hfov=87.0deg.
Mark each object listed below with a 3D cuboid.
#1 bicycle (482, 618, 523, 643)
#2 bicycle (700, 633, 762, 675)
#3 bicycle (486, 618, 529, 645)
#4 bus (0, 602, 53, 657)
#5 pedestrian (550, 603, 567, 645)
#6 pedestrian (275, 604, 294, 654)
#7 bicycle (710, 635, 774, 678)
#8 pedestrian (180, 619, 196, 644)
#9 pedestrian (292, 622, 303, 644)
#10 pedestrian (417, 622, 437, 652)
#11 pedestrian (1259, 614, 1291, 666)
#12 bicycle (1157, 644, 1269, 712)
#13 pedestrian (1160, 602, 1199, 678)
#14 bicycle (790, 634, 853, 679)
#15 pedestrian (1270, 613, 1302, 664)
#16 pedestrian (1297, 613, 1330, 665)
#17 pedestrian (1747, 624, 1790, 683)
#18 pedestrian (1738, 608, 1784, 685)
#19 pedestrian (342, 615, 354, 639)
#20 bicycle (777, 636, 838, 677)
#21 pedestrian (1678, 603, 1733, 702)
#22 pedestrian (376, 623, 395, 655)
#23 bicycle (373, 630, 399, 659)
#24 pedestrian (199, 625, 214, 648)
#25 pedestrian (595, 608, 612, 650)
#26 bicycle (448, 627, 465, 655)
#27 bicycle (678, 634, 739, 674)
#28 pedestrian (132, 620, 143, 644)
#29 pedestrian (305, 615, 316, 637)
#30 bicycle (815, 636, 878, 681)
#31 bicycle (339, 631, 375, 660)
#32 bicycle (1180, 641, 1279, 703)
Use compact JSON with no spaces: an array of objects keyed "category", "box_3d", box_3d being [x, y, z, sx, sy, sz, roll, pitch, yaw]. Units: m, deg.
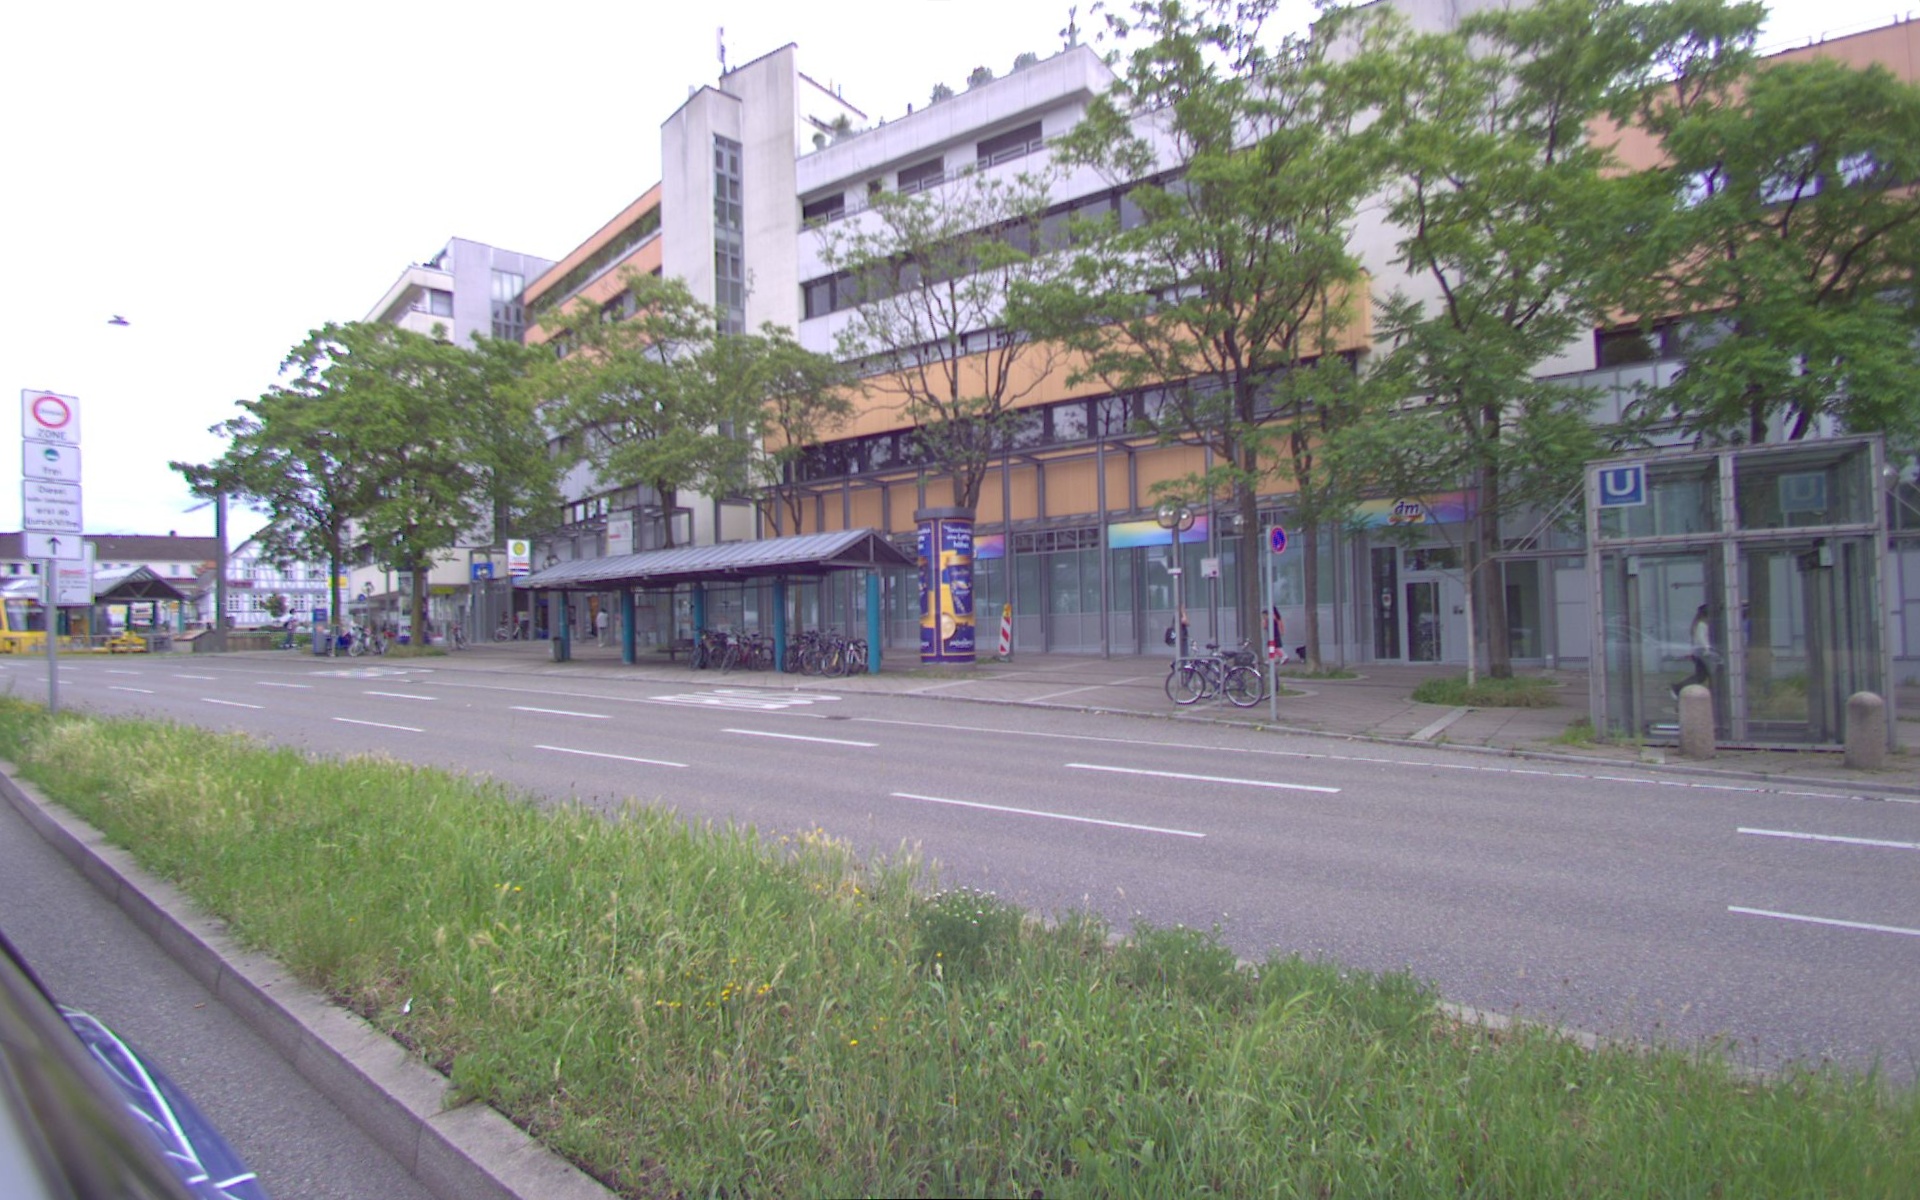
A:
[{"category":"bicycle","box_3d":[-26.096,1.746,57.768,2.106,1.377,0.621,-1,0,-24]},{"category":"bicycle","box_3d":[-6.454,1.519,28.586,0.549,1.048,1.714,-2,1,38]},{"category":"bicycle","box_3d":[-24.947,1.735,55.790,2.107,1.385,0.621,-1,0,-31]},{"category":"bus","box_3d":[-55.981,1.698,58.617,8.470,3.006,2.530,-1,-2,29]},{"category":"pedestrian","box_3d":[-19.486,1.160,49.125,0.558,2.029,0.611,1,-2,-44]},{"category":"pedestrian","box_3d":[-31.814,1.380,47.658,0.608,2.325,0.583,-1,-2,39]},{"category":"bicycle","box_3d":[-5.960,1.536,27.724,0.549,1.048,1.714,-2,1,38]},{"category":"pedestrian","box_3d":[-62.502,2.523,81.950,0.867,2.029,1.010,1,-2,-44]},{"category":"pedestrian","box_3d":[-44.592,2.229,68.157,0.548,1.506,0.454,1,-2,-41]},{"category":"pedestrian","box_3d":[-30.423,2.109,57.793,0.752,1.695,0.755,-1,-2,41]},{"category":"pedestrian","box_3d":[8.538,1.072,27.424,0.694,1.385,0.578,-1,-2,34]},{"category":"bicycle","box_3d":[4.368,1.329,17.600,0.802,1.068,1.739,0,-1,-40]},{"category":"pedestrian","box_3d":[5.295,0.950,24.398,0.769,1.800,0.525,-1,-2,33]},{"category":"bicycle","box_3d":[-3.613,1.464,26.595,0.549,1.048,1.714,-2,0,38]},{"category":"pedestrian","box_3d":[9.008,1.066,27.983,0.694,1.385,0.578,-1,-2,34]},{"category":"pedestrian","box_3d":[9.579,1.058,27.426,0.694,1.385,0.578,-1,-2,34]},{"category":"pedestrian","box_3d":[16.586,1.083,20.764,0.620,1.190,0.418,-1,-2,31]},{"category":"pedestrian","box_3d":[16.124,0.932,20.382,0.620,1.515,0.563,-1,-2,31]},{"category":"pedestrian","box_3d":[-30.908,1.366,51.116,0.368,1.188,0.338,-1,-2,31]},{"category":"bicycle","box_3d":[-4.137,1.521,27.562,0.549,1.048,1.714,-2,-1,38]},{"category":"pedestrian","box_3d":[12.821,0.887,17.418,0.721,1.662,0.669,-1,-1,37]},{"category":"pedestrian","box_3d":[-34.235,2.302,60.314,0.752,1.859,0.755,-1,-2,41]},{"category":"bicycle","box_3d":[-22.746,1.762,40.111,0.584,1.085,2.044,0,-1,-21]},{"category":"pedestrian","box_3d":[-50.085,2.406,67.271,0.581,1.554,0.570,-1,-2,32]},{"category":"pedestrian","box_3d":[-15.473,1.250,43.908,0.639,1.823,0.761,0,-2,-16]},{"category":"bicycle","box_3d":[-21.351,1.716,42.931,0.584,1.134,2.044,1,-1,-26]},{"category":"bicycle","box_3d":[-7.233,1.542,29.151,0.549,1.048,1.714,-2,0,38]},{"category":"pedestrian","box_3d":[-70.459,2.736,86.668,0.731,2.029,0.940,1,-2,-39]},{"category":"pedestrian","box_3d":[-44.036,1.777,68.638,0.548,1.506,0.454,1,-2,-41]},{"category":"bicycle","box_3d":[-2.904,1.480,26.062,0.549,1.048,1.714,-2,0,38]},{"category":"bicycle","box_3d":[-23.613,1.775,39.653,0.585,1.085,2.042,0,-1,-12]},{"category":"bicycle","box_3d":[4.984,1.317,18.792,1.737,1.074,0.542,-2,-1,45]}]
